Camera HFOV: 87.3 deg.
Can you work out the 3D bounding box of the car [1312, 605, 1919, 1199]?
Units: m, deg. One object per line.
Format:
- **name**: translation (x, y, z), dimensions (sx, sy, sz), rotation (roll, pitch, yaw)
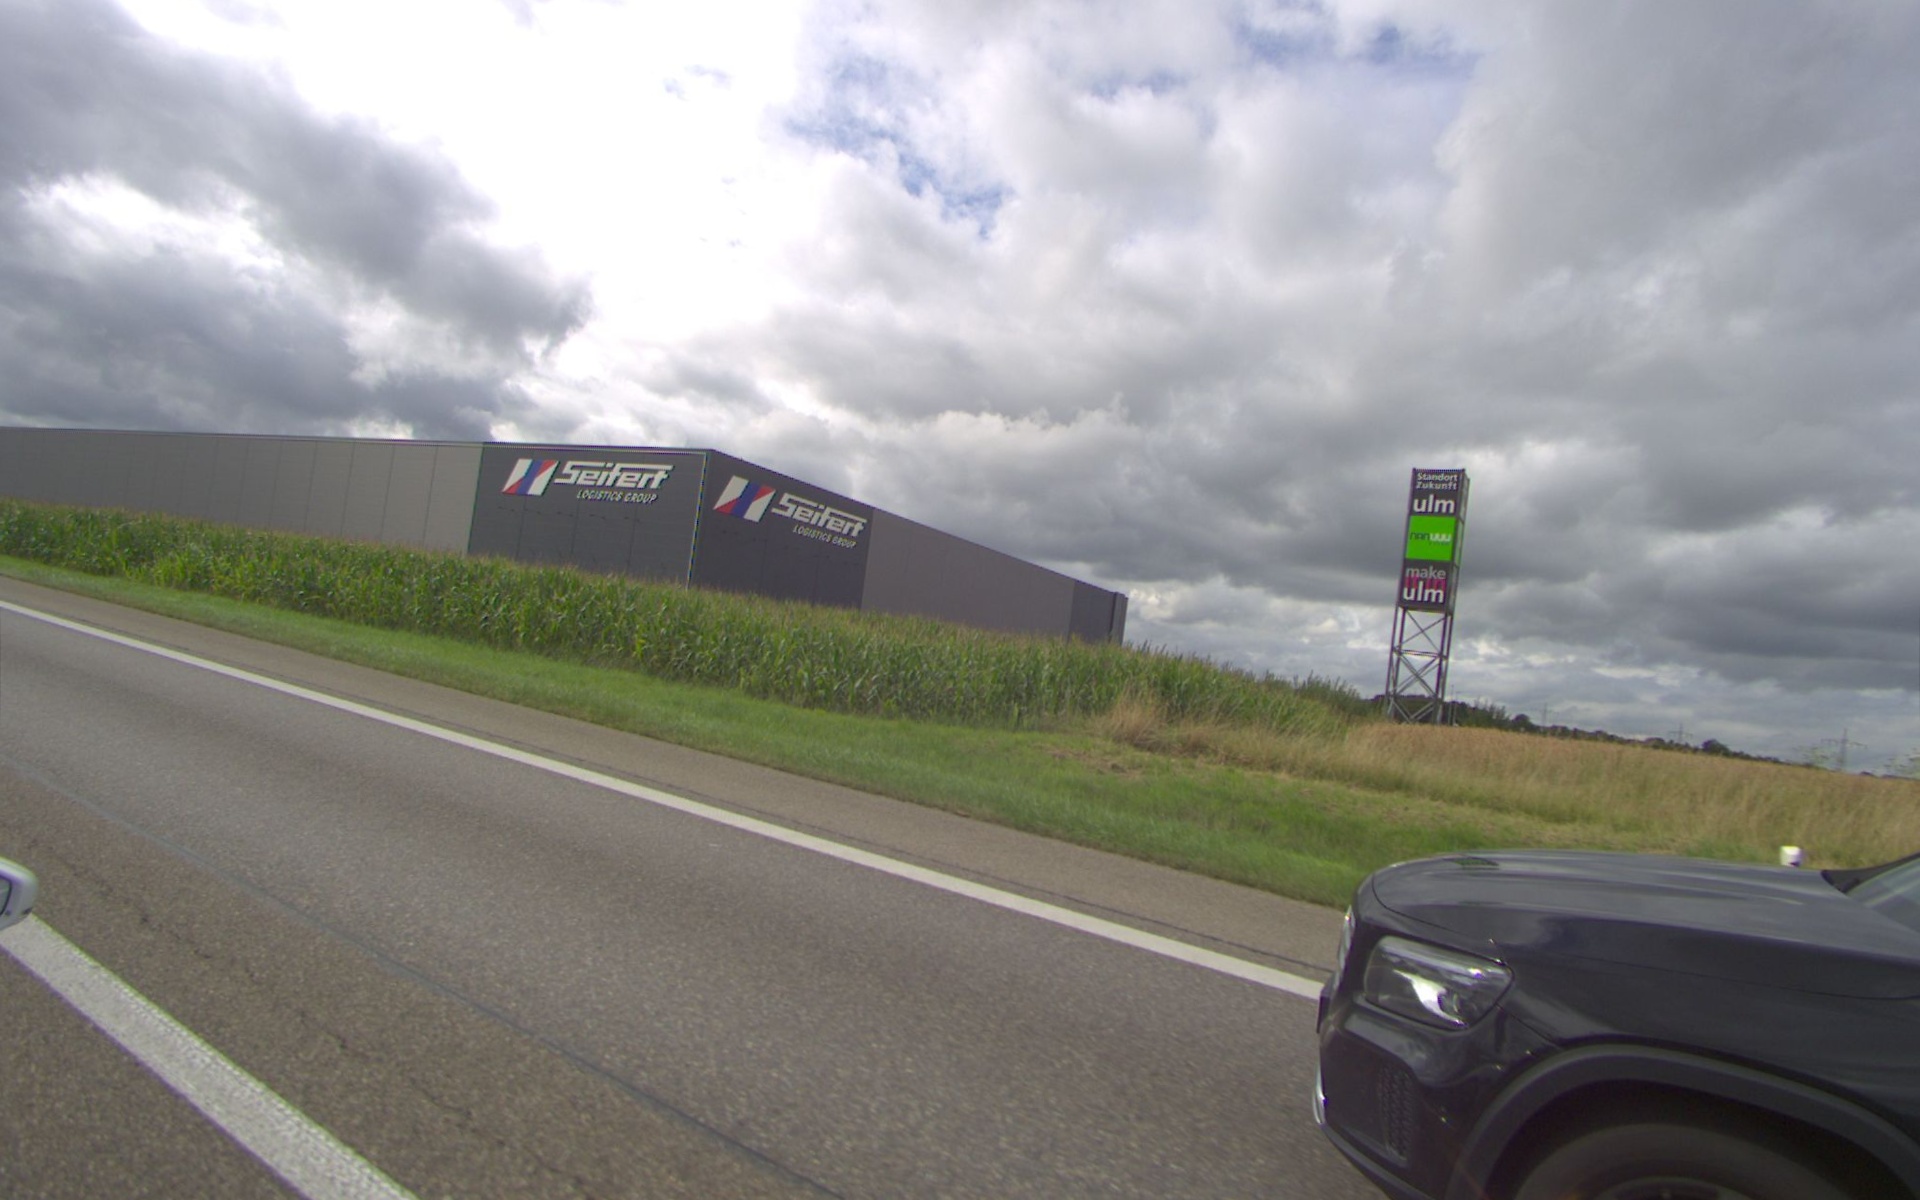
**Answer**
- **car**: translation (3.166, 1.102, 1.981), dimensions (4.289, 1.628, 1.836), rotation (6, -1, 33)
